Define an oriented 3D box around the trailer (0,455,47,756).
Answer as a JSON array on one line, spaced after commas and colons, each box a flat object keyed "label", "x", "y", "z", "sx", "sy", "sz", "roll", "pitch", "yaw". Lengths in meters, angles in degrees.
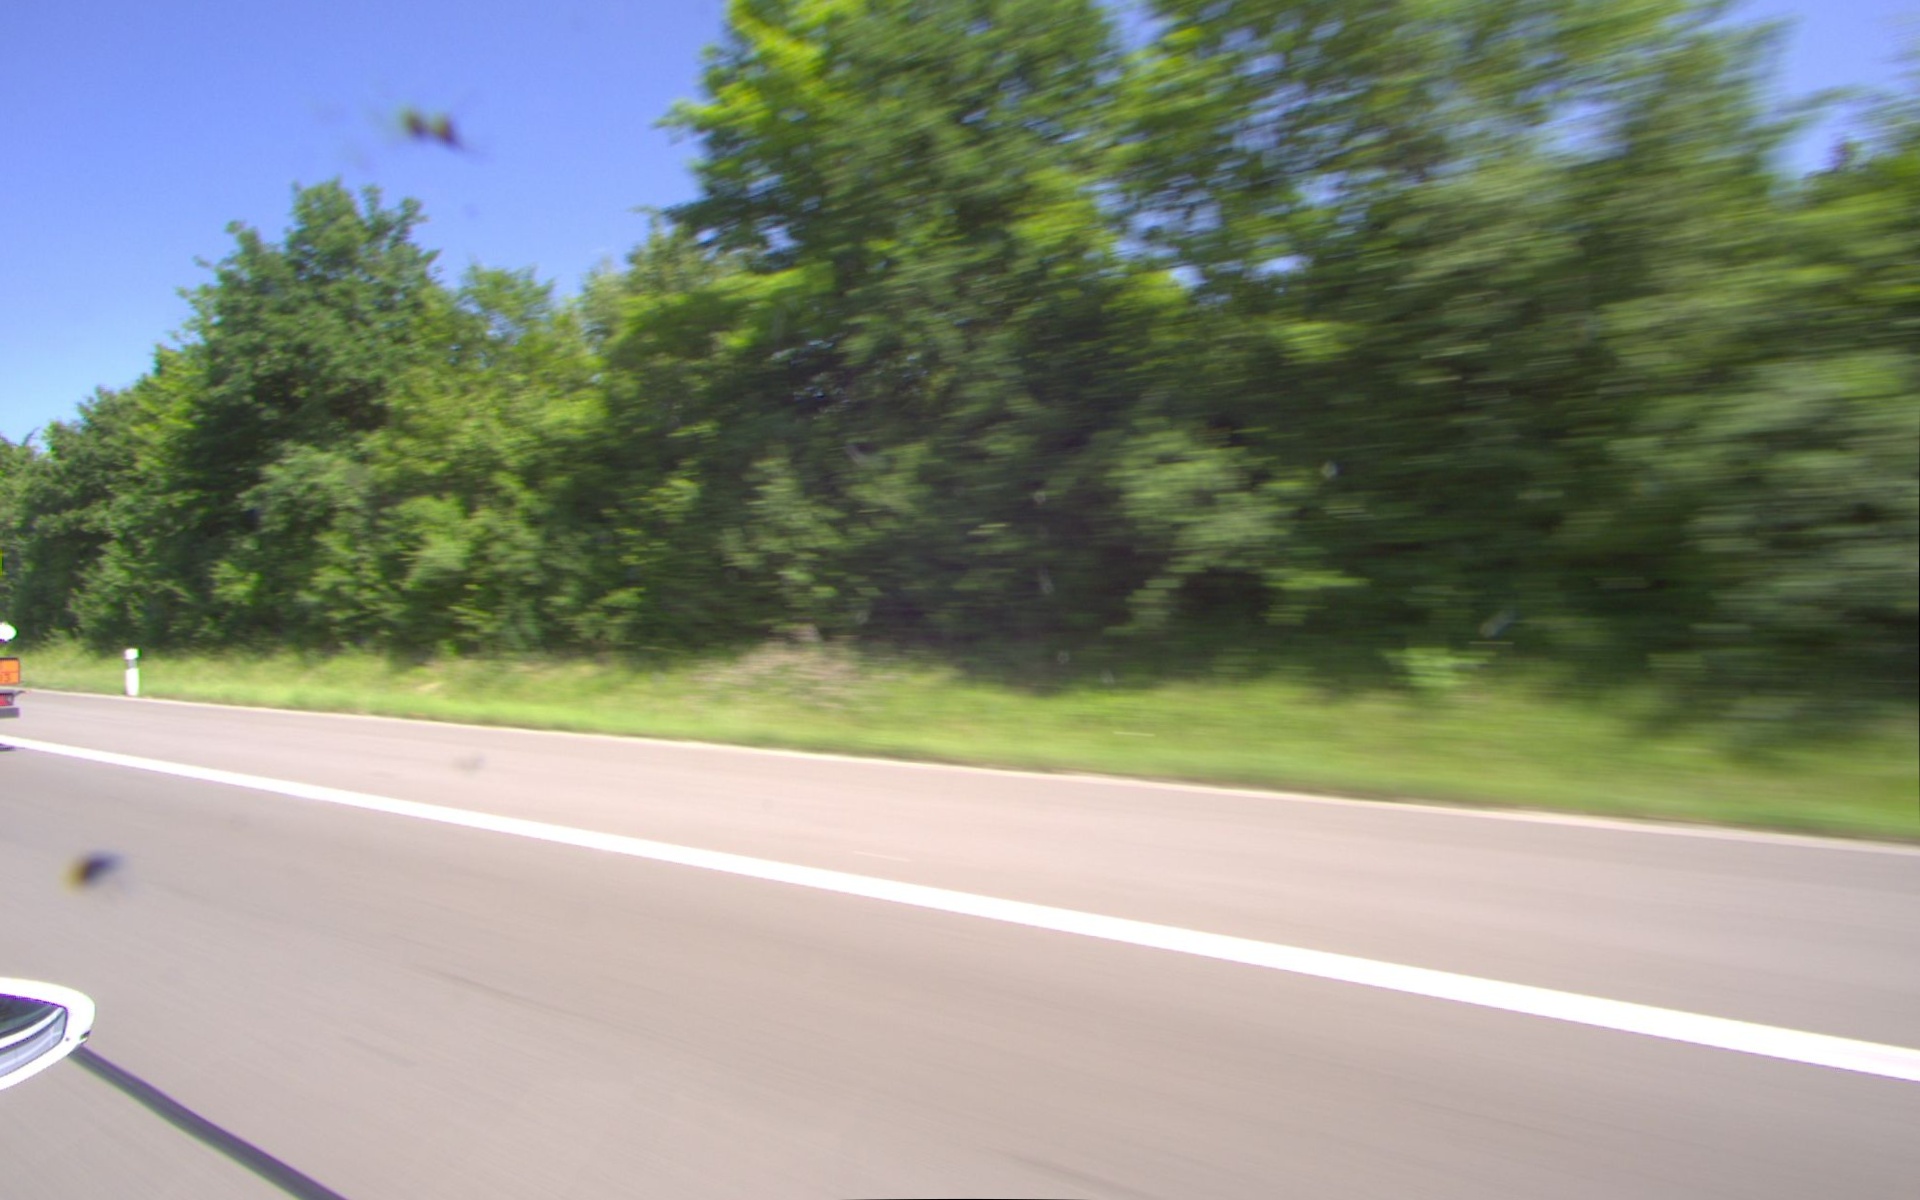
[{"label": "trailer", "x": -16.048, "y": 0.135, "z": 13.618, "sx": 10.994, "sy": 3.433, "sz": 2.643, "roll": -1, "pitch": -1, "yaw": 33}]
